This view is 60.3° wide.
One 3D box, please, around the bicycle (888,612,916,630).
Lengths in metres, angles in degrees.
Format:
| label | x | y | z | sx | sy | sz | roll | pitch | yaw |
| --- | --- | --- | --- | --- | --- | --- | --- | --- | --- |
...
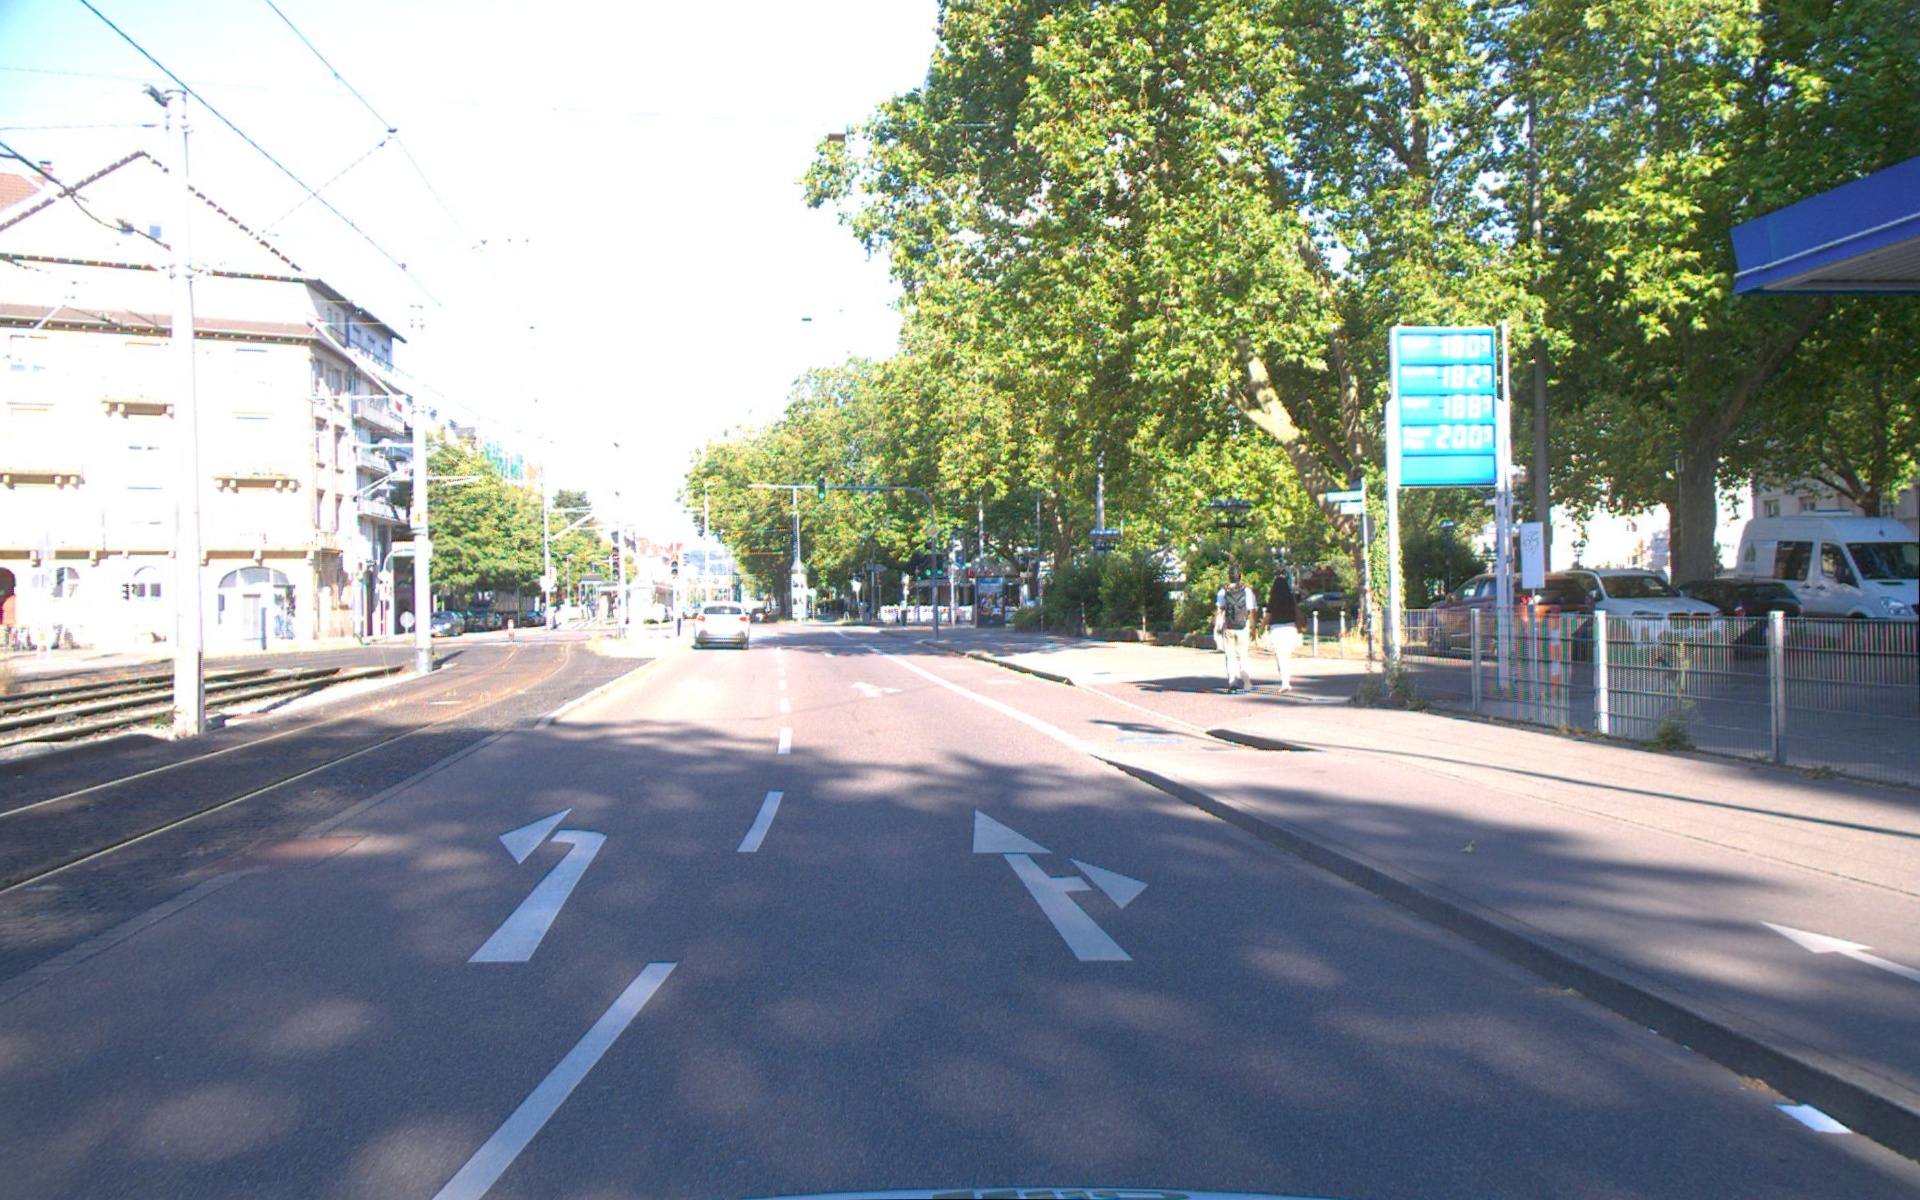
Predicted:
| label | x | y | z | sx | sy | sz | roll | pitch | yaw |
| --- | --- | --- | --- | --- | --- | --- | --- | --- | --- |
| bicycle | -3.463 | 1.245 | 97.790 | 1.178 | 0.951 | 2.565 | 1 | 0 | -13 |

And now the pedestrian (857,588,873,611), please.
| label | x | y | z | sx | sy | sz | roll | pitch | yaw |
| --- | --- | --- | --- | --- | --- | --- | --- | --- | --- |
| pedestrian | -5.830 | -0.021 | 101.915 | 0.646 | 1.412 | 0.831 | 1 | 0 | 25 |

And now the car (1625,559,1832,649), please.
| label | x | y | z | sx | sy | sz | roll | pitch | yaw |
| --- | --- | --- | --- | --- | --- | --- | --- | --- | --- |
| car | 14.841 | 0.016 | 32.196 | 1.824 | 1.597 | 3.995 | -1 | 2 | -7 |

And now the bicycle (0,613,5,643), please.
| label | x | y | z | sx | sy | sz | roll | pitch | yaw |
| --- | --- | --- | --- | --- | --- | --- | --- | --- | --- |
| bicycle | -43.789 | 1.240 | 74.682 | 0.815 | 1.305 | 2.531 | 1 | 0 | -37 |

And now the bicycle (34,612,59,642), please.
| label | x | y | z | sx | sy | sz | roll | pitch | yaw |
| --- | --- | --- | --- | --- | --- | --- | --- | --- | --- |
| bicycle | -41.816 | 1.210 | 75.731 | 0.811 | 1.305 | 2.544 | 1 | 0 | -25 |

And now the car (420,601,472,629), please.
| label | x | y | z | sx | sy | sz | roll | pitch | yaw |
| --- | --- | --- | --- | --- | --- | --- | --- | --- | --- |
| car | -29.637 | 0.847 | 95.580 | 1.955 | 1.474 | 4.834 | -1 | 1 | -6 |

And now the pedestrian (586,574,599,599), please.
| label | x | y | z | sx | sy | sz | roll | pitch | yaw |
| --- | --- | --- | --- | --- | --- | --- | --- | --- | --- |
| pedestrian | -27.995 | -1.016 | 125.858 | 0.945 | 1.865 | 0.987 | 1 | 0 | -13 |

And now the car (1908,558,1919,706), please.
| label | x | y | z | sx | sy | sz | roll | pitch | yaw |
| --- | --- | --- | --- | --- | --- | --- | --- | --- | --- |
| car | 10.465 | 0.299 | 14.533 | 1.538 | 1.455 | 4.092 | -2 | 0 | -7 |

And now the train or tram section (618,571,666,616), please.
| label | x | y | z | sx | sy | sz | roll | pitch | yaw |
| --- | --- | --- | --- | --- | --- | --- | --- | --- | --- |
| train or tram section | -25.745 | -0.549 | 134.323 | 2.896 | 3.470 | 10.776 | 1 | 0 | -6 |

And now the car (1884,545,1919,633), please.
| label | x | y | z | sx | sy | sz | roll | pitch | yaw |
| --- | --- | --- | --- | --- | --- | --- | --- | --- | --- |
| car | 20.348 | -0.231 | 32.318 | 1.957 | 1.769 | 3.992 | -1 | 0 | -9 |

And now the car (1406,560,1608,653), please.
| label | x | y | z | sx | sy | sz | roll | pitch | yaw |
| --- | --- | --- | --- | --- | --- | --- | --- | --- | --- |
| car | 10.534 | 0.060 | 32.260 | 1.784 | 1.630 | 4.652 | -2 | 2 | -9 |

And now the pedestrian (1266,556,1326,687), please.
| label | x | y | z | sx | sy | sz | roll | pitch | yaw |
| --- | --- | --- | --- | --- | --- | --- | --- | --- | --- |
| pedestrian | 4.764 | 0.299 | 23.465 | 0.591 | 1.807 | 0.689 | -3 | 0 | -3 |

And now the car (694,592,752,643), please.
| label | x | y | z | sx | sy | sz | roll | pitch | yaw |
| --- | --- | --- | --- | --- | --- | --- | --- | --- | --- |
| car | -7.460 | 0.534 | 52.208 | 1.712 | 1.487 | 3.638 | 1 | 1 | -8 |

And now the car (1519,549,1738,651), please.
| label | x | y | z | sx | sy | sz | roll | pitch | yaw |
| --- | --- | --- | --- | --- | --- | --- | --- | --- | --- |
| car | 12.694 | -0.067 | 31.782 | 1.824 | 1.765 | 4.792 | -1 | 2 | -7 |

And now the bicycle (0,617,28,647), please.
| label | x | y | z | sx | sy | sz | roll | pitch | yaw |
| --- | --- | --- | --- | --- | --- | --- | --- | --- | --- |
| bicycle | -43.078 | 1.437 | 75.238 | 0.815 | 1.305 | 2.531 | 1 | 0 | -37 |

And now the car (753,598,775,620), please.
| label | x | y | z | sx | sy | sz | roll | pitch | yaw |
| --- | --- | --- | --- | --- | --- | --- | --- | --- | --- |
| car | -18.623 | 0.828 | 157.401 | 1.955 | 2.049 | 3.995 | 1 | 0 | -6 |

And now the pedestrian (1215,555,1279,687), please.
| label | x | y | z | sx | sy | sz | roll | pitch | yaw |
| --- | --- | --- | --- | --- | --- | --- | --- | --- | --- |
| pedestrian | 4.118 | 0.292 | 23.757 | 0.591 | 1.807 | 0.878 | -5 | 0 | -3 |

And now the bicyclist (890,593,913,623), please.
| label | x | y | z | sx | sy | sz | roll | pitch | yaw |
| --- | --- | --- | --- | --- | --- | --- | --- | --- | --- |
| bicyclist | -3.467 | 0.457 | 97.847 | 1.178 | 1.726 | 0.901 | 1 | 0 | -13 |

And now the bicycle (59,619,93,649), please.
| label | x | y | z | sx | sy | sz | roll | pitch | yaw |
| --- | --- | --- | --- | --- | --- | --- | --- | --- | --- |
| bicycle | -41.018 | 1.550 | 76.774 | 0.808 | 1.305 | 2.554 | 1 | 0 | -15 |

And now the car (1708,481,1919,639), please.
| label | x | y | z | sx | sy | sz | roll | pitch | yaw |
| --- | --- | --- | --- | --- | --- | --- | --- | --- | --- |
| car | 17.774 | -0.767 | 33.351 | 2.198 | 2.882 | 5.788 | -2 | 0 | -7 |
